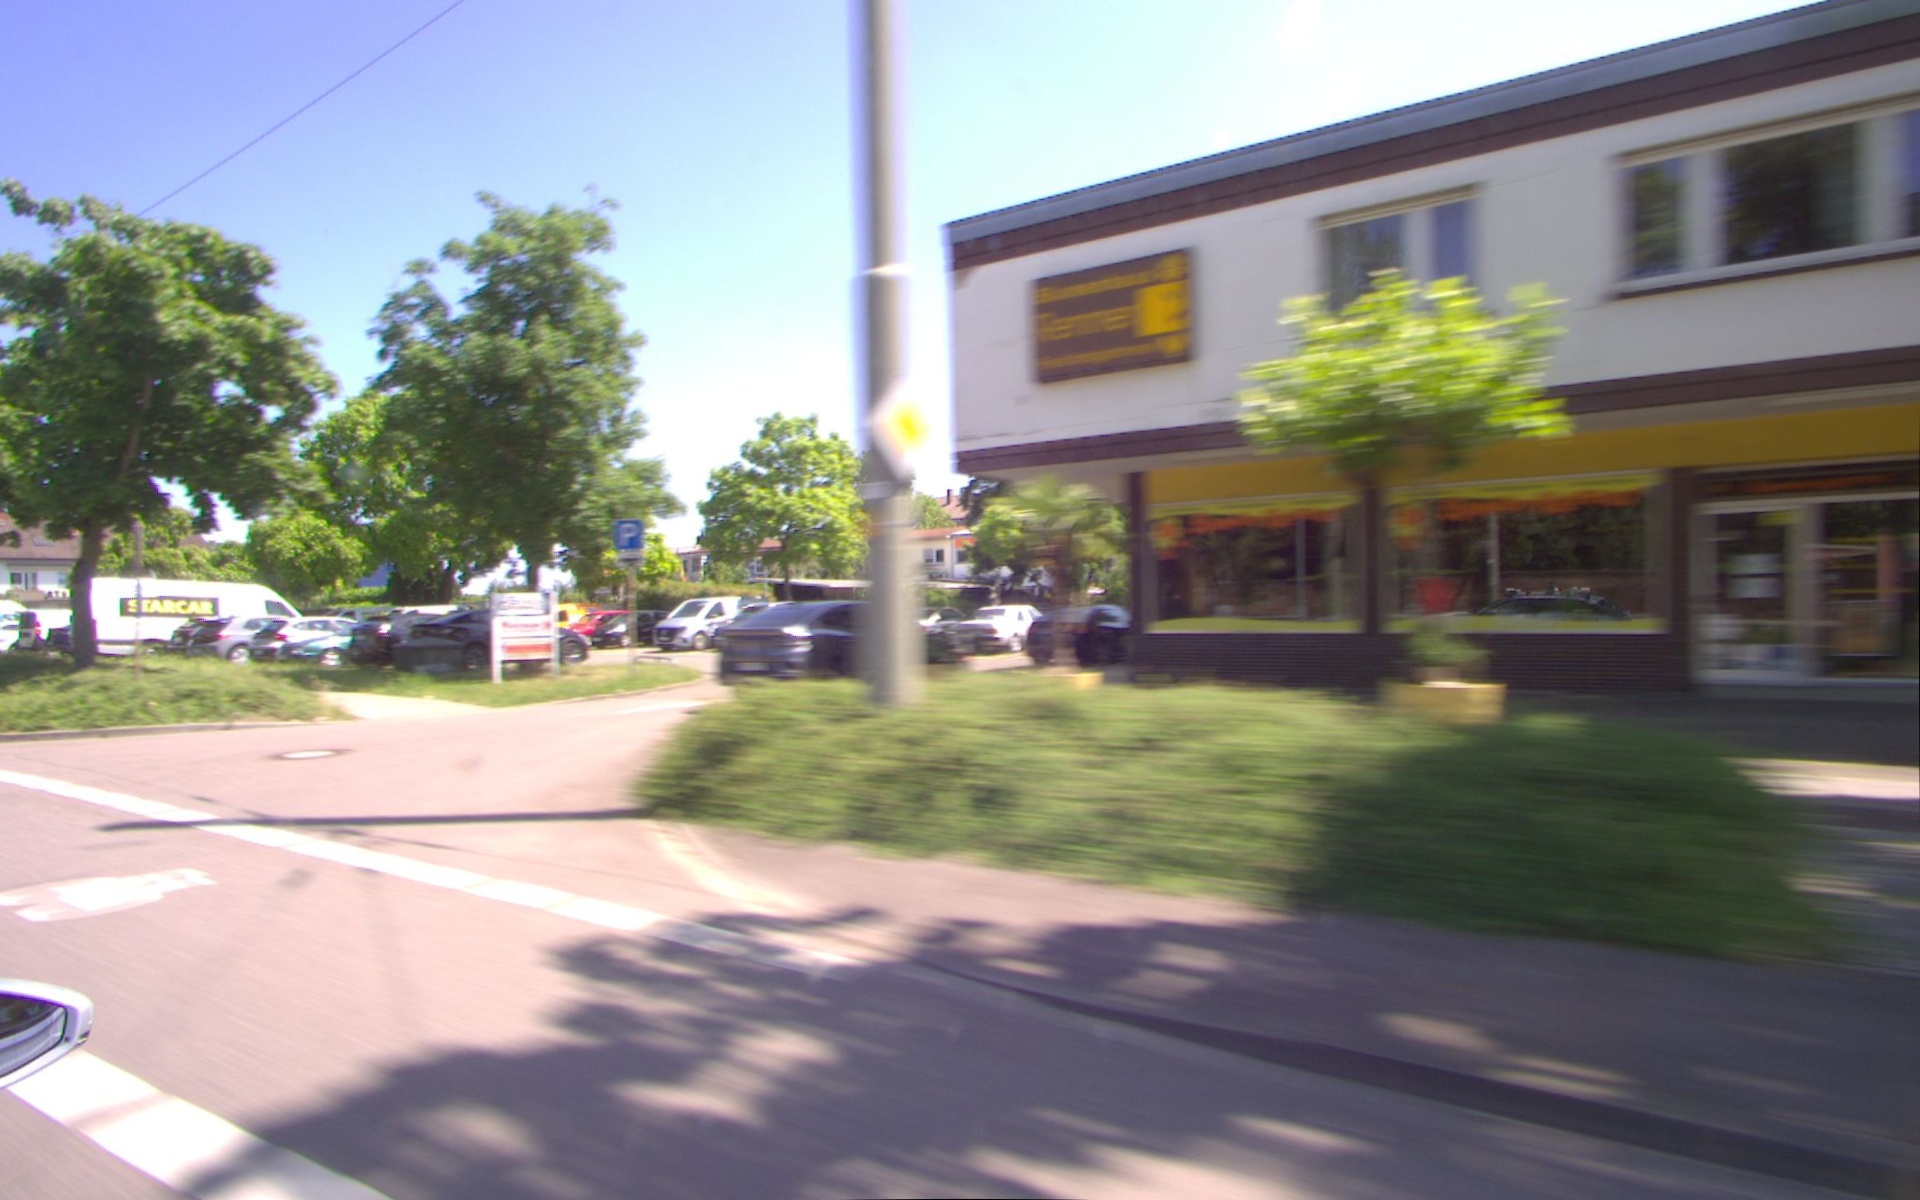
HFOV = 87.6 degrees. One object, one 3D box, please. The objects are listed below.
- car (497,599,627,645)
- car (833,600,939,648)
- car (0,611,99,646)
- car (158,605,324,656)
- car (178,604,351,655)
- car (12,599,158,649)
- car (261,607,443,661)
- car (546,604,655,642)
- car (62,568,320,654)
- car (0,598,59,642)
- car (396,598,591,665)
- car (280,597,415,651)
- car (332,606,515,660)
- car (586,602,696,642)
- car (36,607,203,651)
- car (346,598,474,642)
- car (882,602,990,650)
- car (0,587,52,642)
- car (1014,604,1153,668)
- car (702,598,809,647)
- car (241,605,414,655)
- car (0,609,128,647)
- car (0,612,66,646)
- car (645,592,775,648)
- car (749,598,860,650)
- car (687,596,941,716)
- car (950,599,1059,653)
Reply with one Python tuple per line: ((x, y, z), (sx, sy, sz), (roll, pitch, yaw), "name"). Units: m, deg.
((-17.587, 0.927, 44.533), (2.065, 1.776, 5.141), (0, 1, 32), "car")
((-2.492, 0.783, 34.617), (1.609, 1.463, 3.970), (0, 1, 32), "car")
((-38.487, 1.193, 41.530), (1.701, 1.423, 3.884), (0, -2, 29), "car")
((-22.547, 0.982, 31.543), (1.701, 1.490, 3.884), (0, -2, 29), "car")
((-20.509, 0.886, 29.711), (1.700, 1.397, 3.888), (0, -2, 26), "car")
((-33.649, 0.948, 38.614), (1.923, 1.806, 3.779), (0, -2, 27), "car")
((-16.393, 0.939, 27.201), (1.702, 1.342, 3.882), (0, -2, 30), "car")
((-15.388, 0.952, 43.049), (1.609, 1.456, 4.300), (0, 1, 32), "car")
((-25.040, 0.454, 32.936), (2.232, 2.561, 6.327), (0, -2, 34), "car")
((-42.947, 0.873, 44.112), (1.923, 1.933, 4.406), (0, -2, 27), "car")
((-11.477, 0.798, 24.903), (1.654, 1.509, 4.195), (0, -2, 30), "car")
((-31.278, 1.179, 51.329), (2.065, 2.493, 5.477), (0, 1, 32), "car")
((-13.828, 0.879, 26.041), (1.702, 1.297, 3.882), (0, -2, 30), "car")
((-13.183, 0.887, 41.582), (1.609, 1.456, 4.300), (0, 1, 32), "car")
((-31.339, 1.103, 37.495), (1.924, 1.524, 4.404), (0, -2, 28), "car")
((-26.815, 0.931, 49.002), (2.065, 1.901, 5.084), (0, 1, 32), "car")
((-0.722, 0.810, 32.824), (1.609, 1.388, 3.970), (0, 1, 32), "car")
((-45.414, 0.636, 45.733), (2.065, 2.490, 5.482), (0, -2, 32), "car")
((3.038, 0.800, 23.899), (1.723, 1.393, 4.130), (0, 0, 32), "car")
((-7.536, 0.807, 37.228), (1.609, 1.626, 3.970), (0, 1, 32), "car")
((-18.155, 0.895, 28.916), (1.702, 1.342, 3.882), (0, -2, 30), "car")
((-36.161, 1.144, 39.932), (1.701, 1.423, 4.274), (0, -2, 29), "car")
((-40.660, 1.228, 42.360), (1.700, 1.423, 3.886), (0, -2, 27), "car")
((-9.448, 0.712, 38.257), (1.881, 1.926, 4.907), (0, 1, 31), "car")
((-5.420, 0.807, 35.300), (1.644, 1.622, 3.970), (0, 1, 32), "car")
((-2.139, 0.778, 15.854), (1.914, 1.632, 4.135), (0, 0, 28), "car")
((1.456, 0.747, 31.014), (1.609, 1.456, 3.970), (0, 1, 32), "car")
